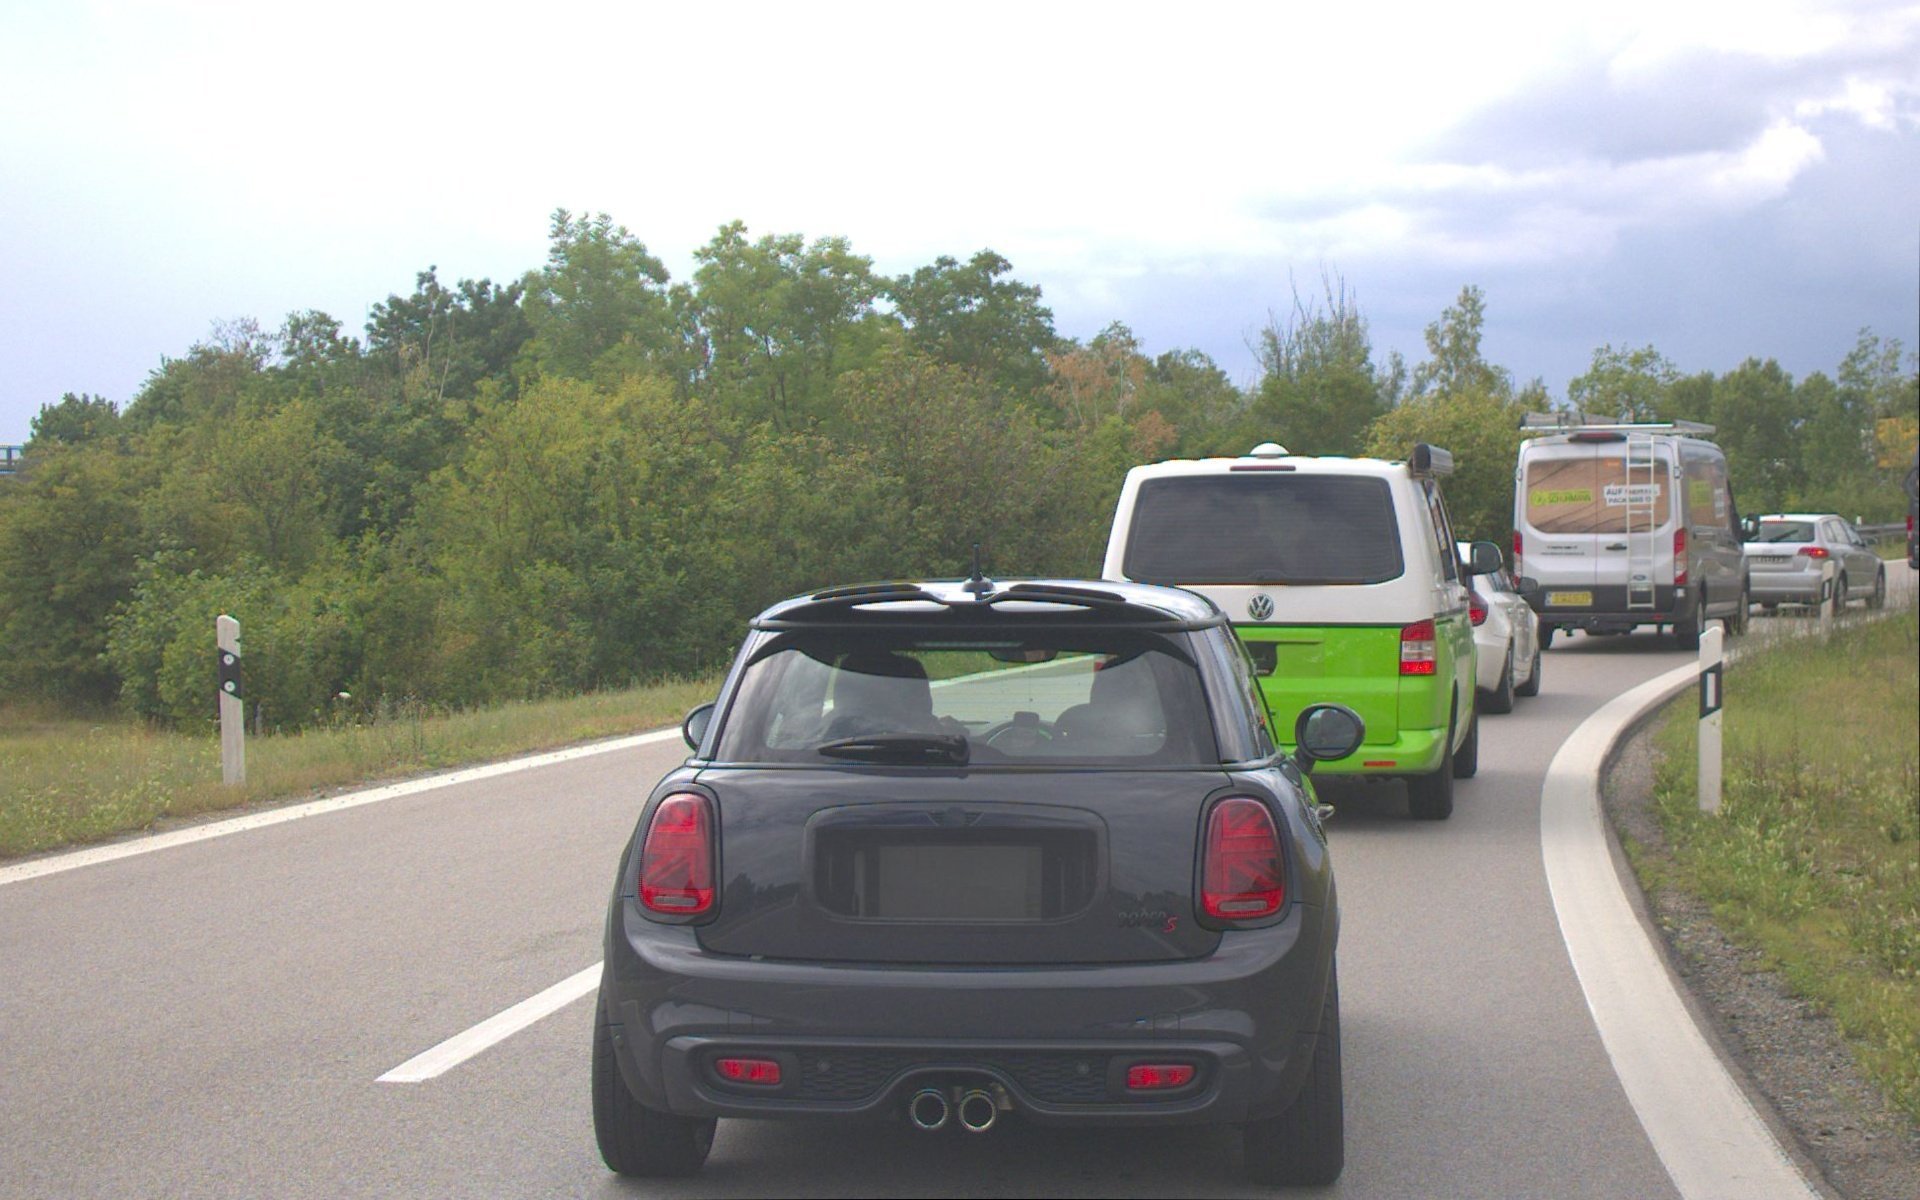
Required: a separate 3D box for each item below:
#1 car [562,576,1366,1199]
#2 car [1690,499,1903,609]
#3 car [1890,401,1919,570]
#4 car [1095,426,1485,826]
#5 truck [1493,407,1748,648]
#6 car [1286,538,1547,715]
[{"bbox_3d":[0.073,0.646,9.277,1.727,1.409,3.725,0,0,2],"label":"car"},{"bbox_3d":[12.017,-0.639,49.230,1.869,1.505,3.993,0,0,31],"label":"car"},{"bbox_3d":[17.156,-1.883,57.967,2.108,2.787,3.994,1,1,26],"label":"car"},{"bbox_3d":[1.962,0.110,19.380,1.785,2.007,3.998,0,0,11],"label":"car"},{"bbox_3d":[7.869,-0.852,40.535,2.180,2.649,5.104,0,1,20],"label":"truck"},{"bbox_3d":[3.941,0.197,29.224,1.763,1.394,3.723,0,0,14],"label":"car"}]
